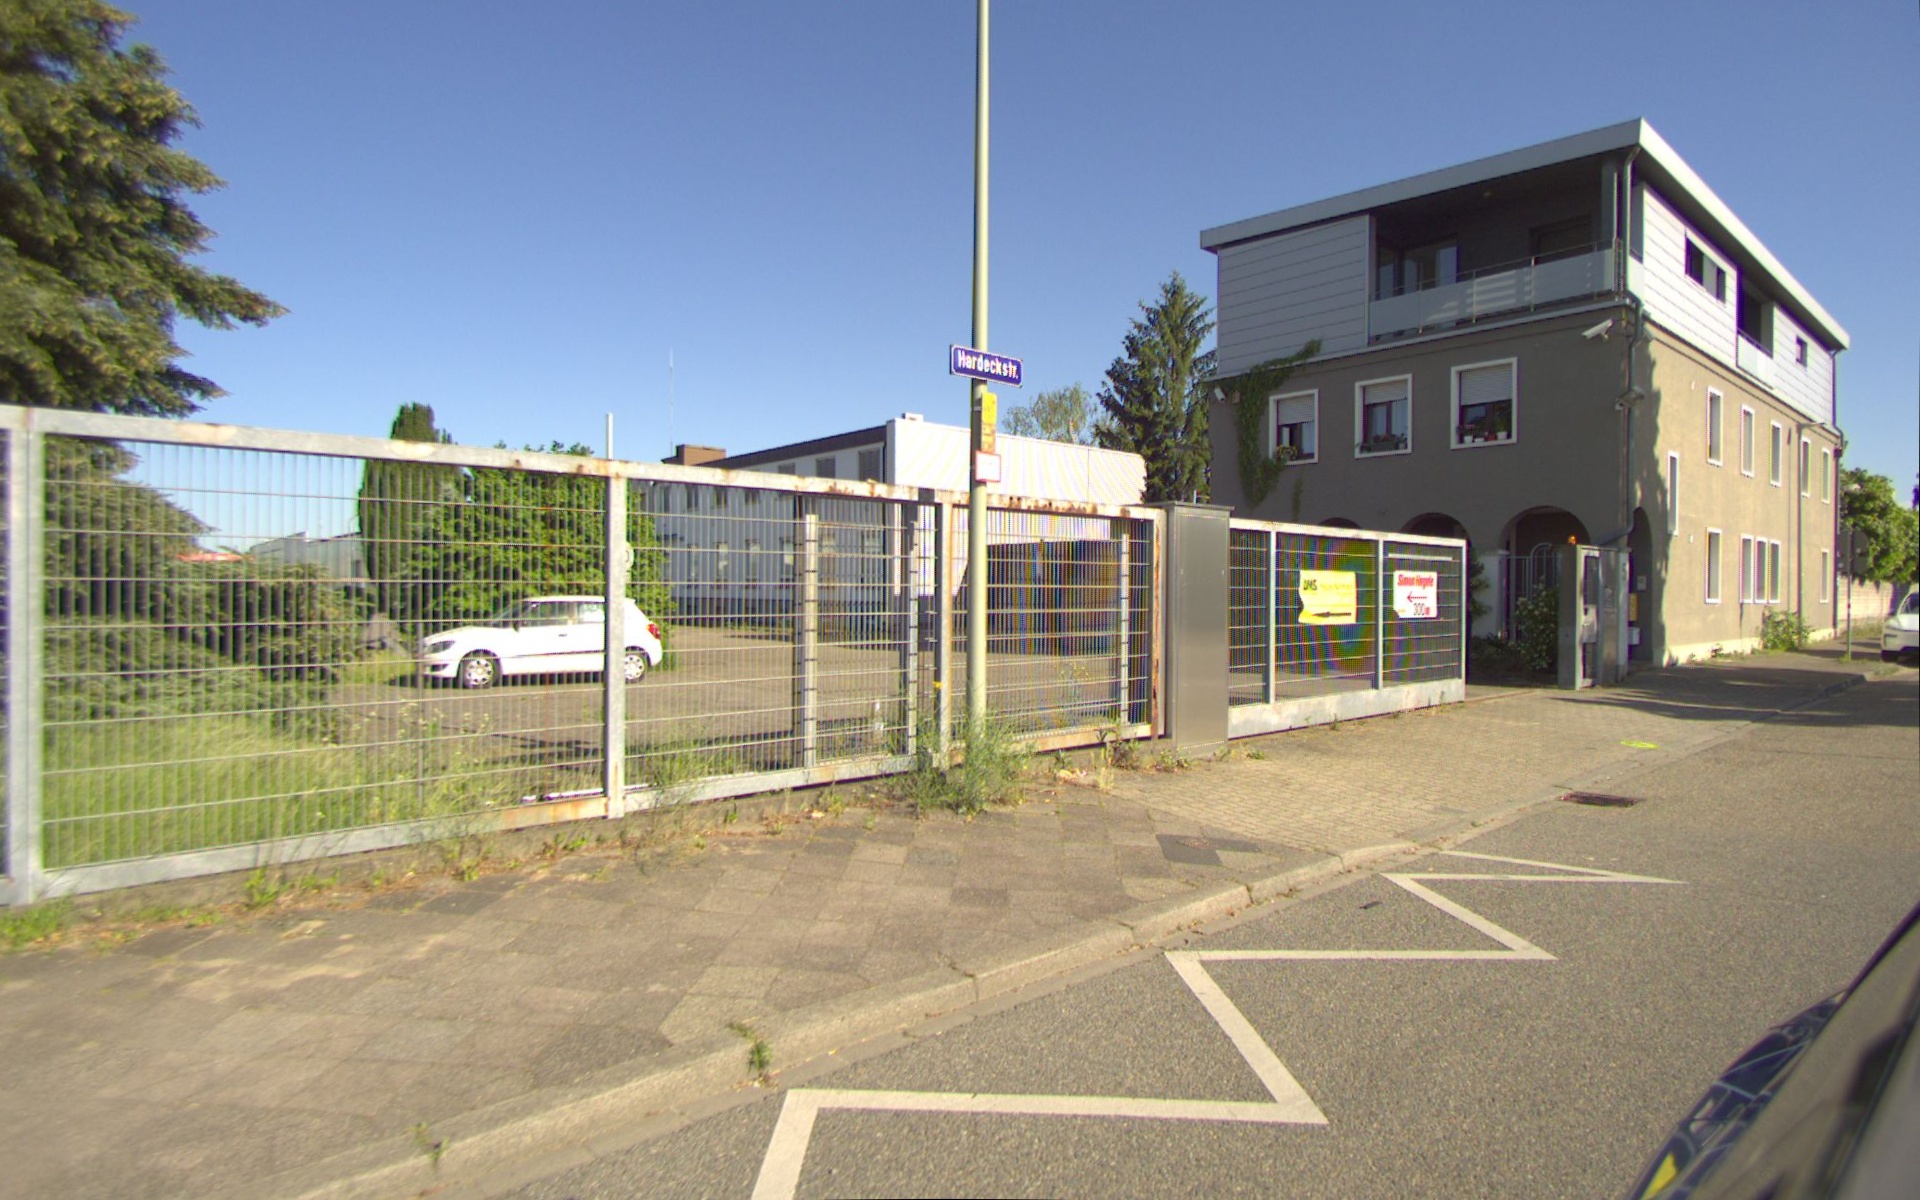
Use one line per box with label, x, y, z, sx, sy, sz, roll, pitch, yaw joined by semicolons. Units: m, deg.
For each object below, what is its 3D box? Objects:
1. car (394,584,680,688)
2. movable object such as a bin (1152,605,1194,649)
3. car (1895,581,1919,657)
car;-7.173;0.517;17.321;4.214;1.584;1.869;-1;1;-36
movable object such as a bin;4.988;0.626;23.713;0.736;0.984;0.616;-2;2;-40
car;23.118;0.409;23.326;4.689;1.665;1.934;-1;1;-43
